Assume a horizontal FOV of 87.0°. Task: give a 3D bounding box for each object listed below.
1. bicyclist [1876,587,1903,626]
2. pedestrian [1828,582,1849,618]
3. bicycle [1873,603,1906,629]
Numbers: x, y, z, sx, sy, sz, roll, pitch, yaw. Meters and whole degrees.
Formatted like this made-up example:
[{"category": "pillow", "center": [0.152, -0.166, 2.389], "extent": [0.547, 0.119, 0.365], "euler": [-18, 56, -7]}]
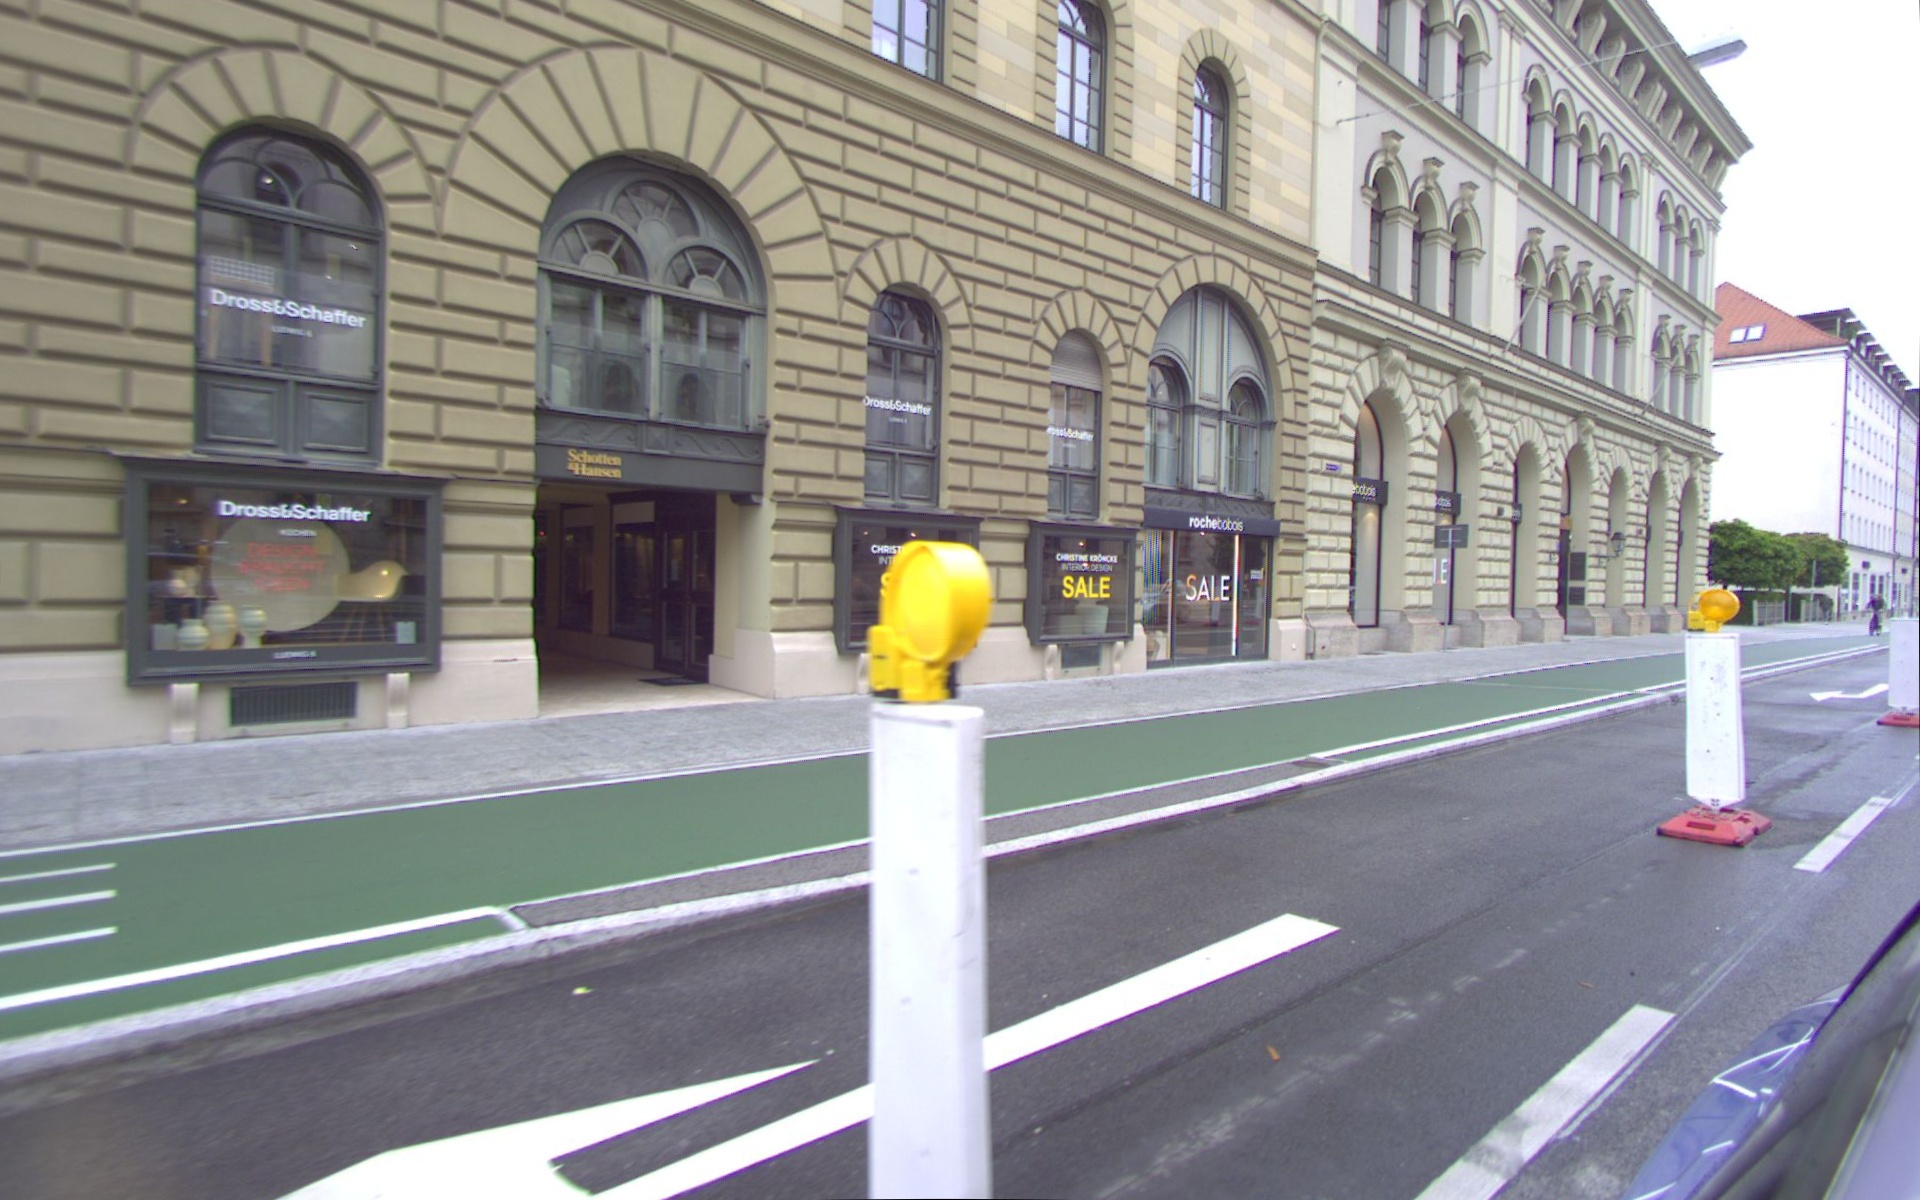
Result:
[{"category": "bicyclist", "center": [38.444, 0.260, 41.861], "extent": [0.843, 1.572, 0.723], "euler": [0, 0, -41]}, {"category": "pedestrian", "center": [47.470, -0.019, 54.687], "extent": [0.811, 1.897, 0.654], "euler": [0, 2, -41]}, {"category": "bicycle", "center": [38.448, 0.652, 41.866], "extent": [2.487, 1.045, 0.750], "euler": [0, 0, -42]}]
